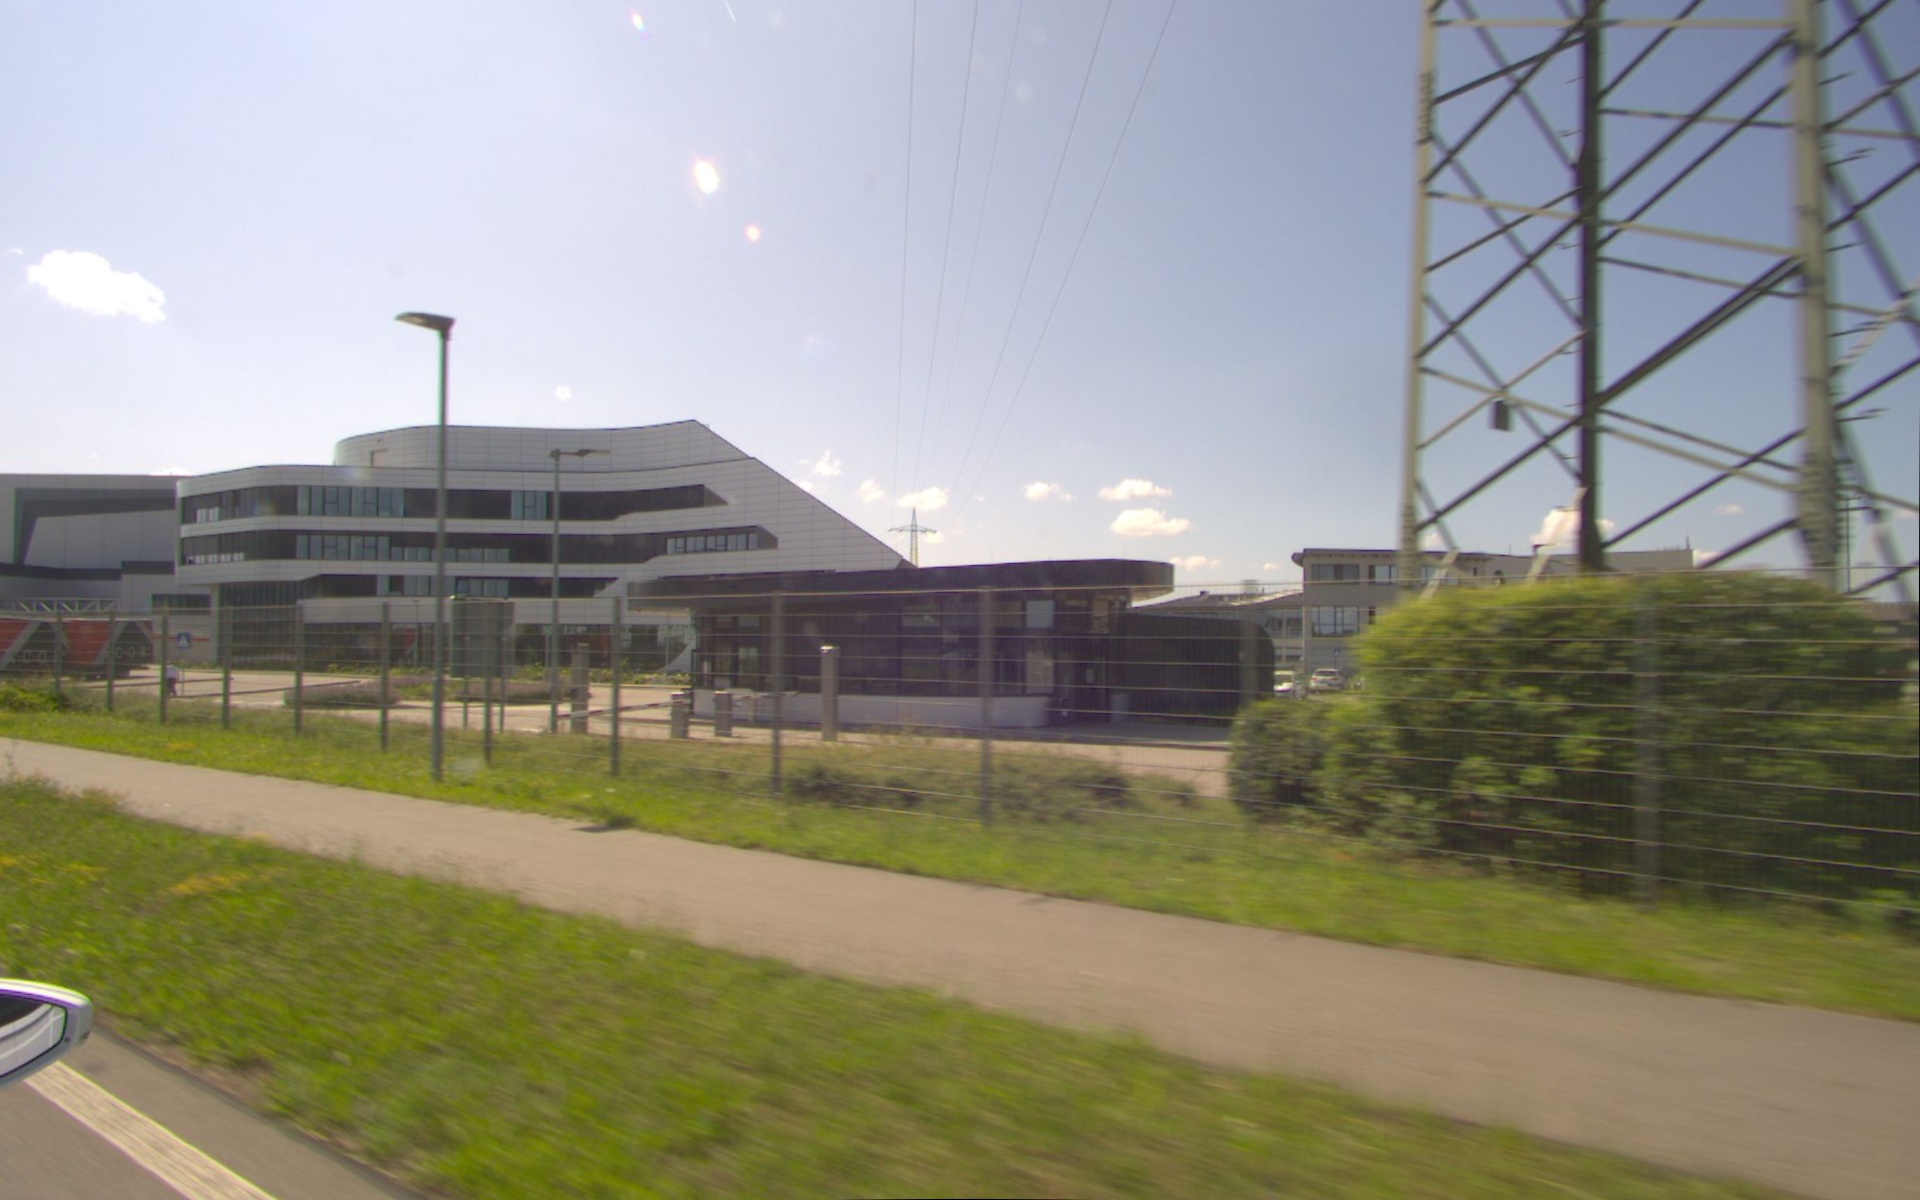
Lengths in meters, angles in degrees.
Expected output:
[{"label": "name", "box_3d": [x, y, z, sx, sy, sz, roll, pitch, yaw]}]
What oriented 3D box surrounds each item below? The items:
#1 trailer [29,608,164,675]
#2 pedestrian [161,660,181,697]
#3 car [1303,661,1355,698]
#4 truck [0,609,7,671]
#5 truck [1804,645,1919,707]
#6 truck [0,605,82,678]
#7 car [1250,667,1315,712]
[{"label": "trailer", "box_3d": [-59.847, 2.811, 69.776, 2.972, 4.351, 8.713, 0, -2, -9]}, {"label": "pedestrian", "box_3d": [-36.437, 3.622, 46.221, 0.565, 1.673, 0.483, 0, -2, 27]}, {"label": "car", "box_3d": [21.611, 4.619, 58.531, 1.971, 2.038, 4.733, 0, -4, 32]}, {"label": "truck", "box_3d": [-66.460, 2.603, 63.697, 2.769, 4.226, 10.971, 0, -2, -9]}, {"label": "truck", "box_3d": [56.139, 4.319, 56.053, 13.441, 3.403, 1.990, -1, -3, 34]}, {"label": "truck", "box_3d": [-58.199, 2.493, 60.111, 2.972, 4.310, 10.970, 0, -2, -10]}, {"label": "car", "box_3d": [15.962, 4.372, 49.443, 1.971, 2.038, 4.733, 0, -4, 32]}]
